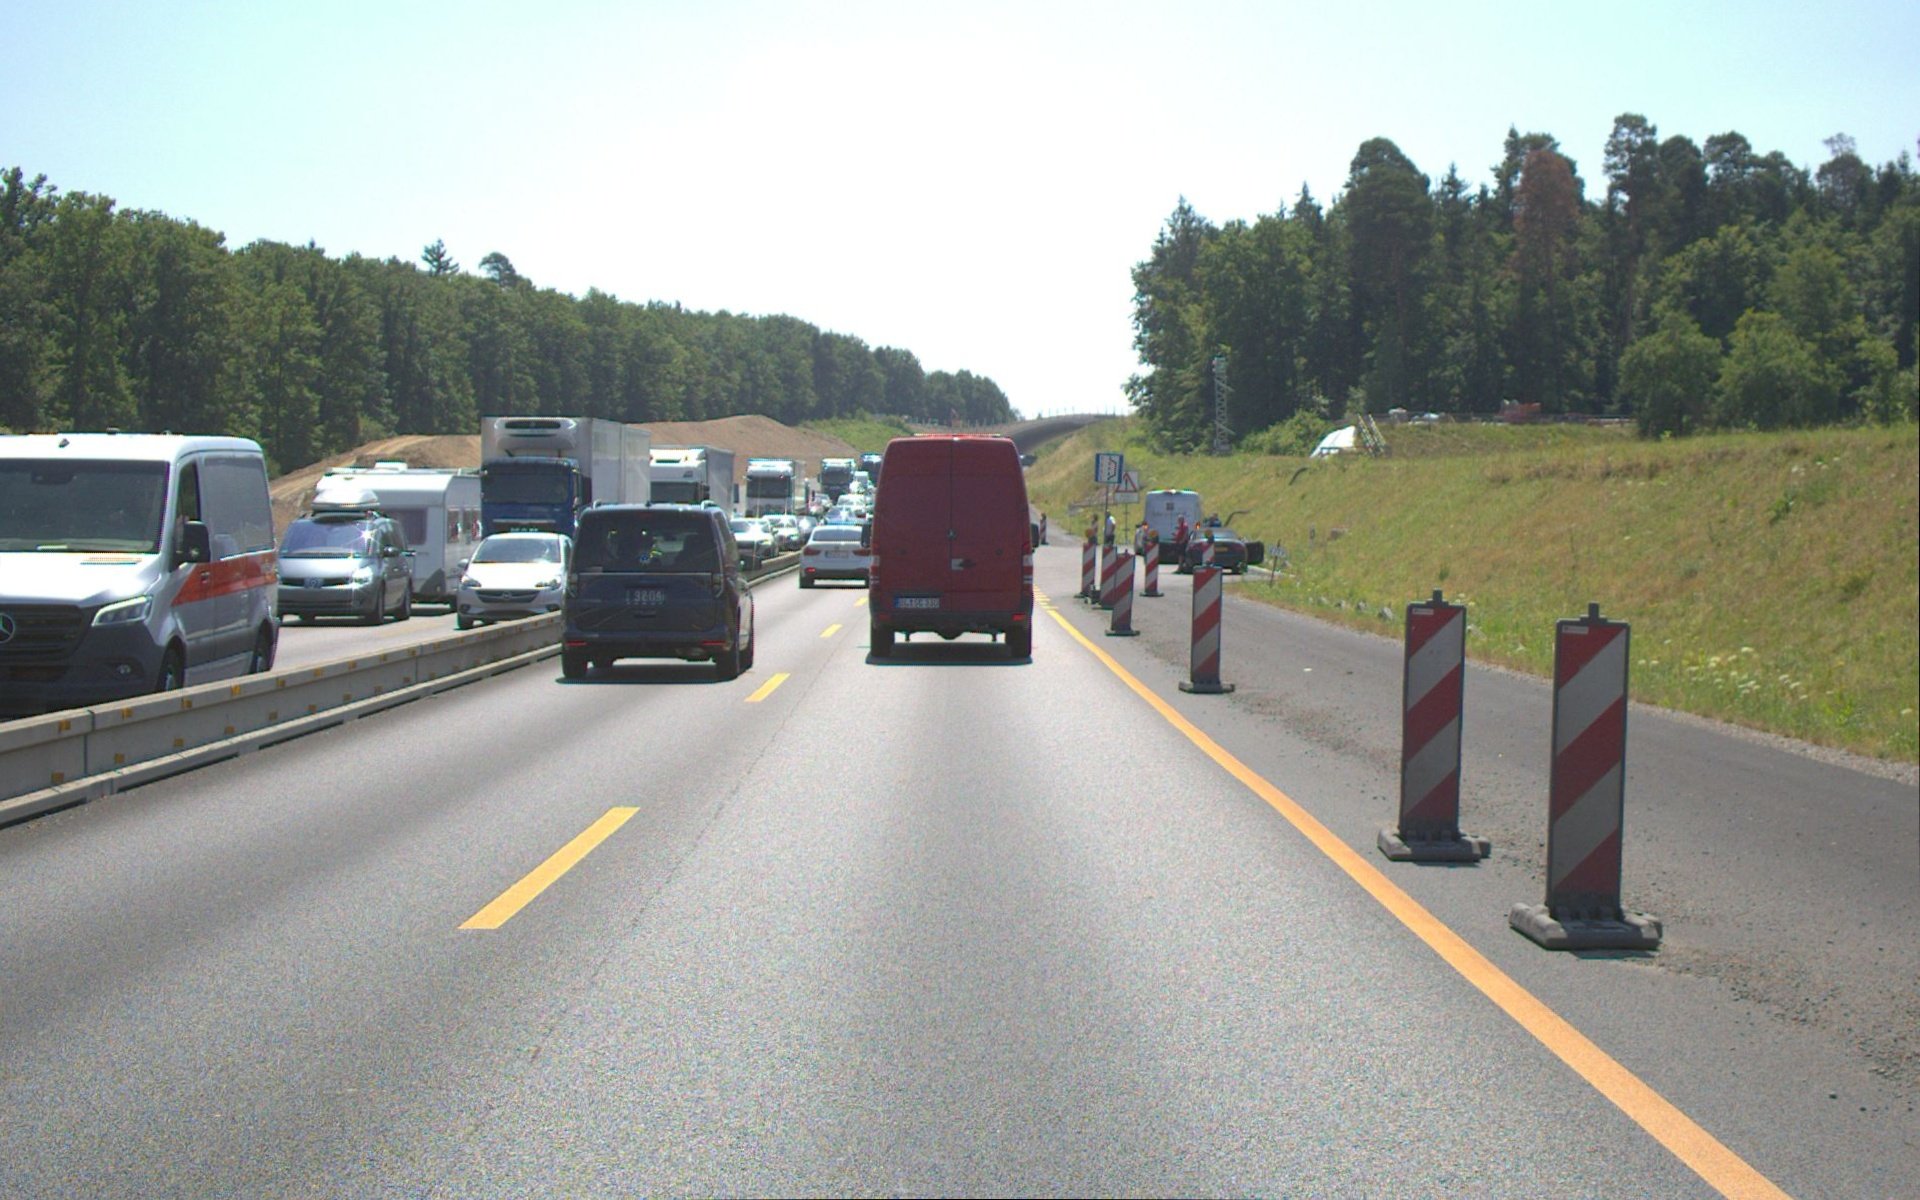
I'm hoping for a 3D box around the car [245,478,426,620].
[{"bbox_3d":[-9.939,-0.815,55.064,1.993,2.148,4.865,1,1,0],"label":"car"}]

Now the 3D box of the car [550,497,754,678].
[{"bbox_3d":[-3.268,-0.196,37.242,1.751,1.818,4.783,1,2,0],"label":"car"}]

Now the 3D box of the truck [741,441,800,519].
[{"bbox_3d":[-10.142,-6.388,184.228,2.768,4.030,4.943,1,1,1],"label":"truck"}]

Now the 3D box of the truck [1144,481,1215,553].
[{"bbox_3d":[7.791,-2.948,121.695,2.130,2.448,5.924,1,2,7],"label":"truck"}]

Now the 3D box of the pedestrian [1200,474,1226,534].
[{"bbox_3d":[7.841,-2.977,106.644,0.624,1.822,0.643,1,2,-12],"label":"pedestrian"}]

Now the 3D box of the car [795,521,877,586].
[{"bbox_3d":[-2.970,-1.127,83.003,1.831,1.517,3.961,1,1,0],"label":"car"}]

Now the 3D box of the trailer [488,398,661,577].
[{"bbox_3d":[-9.731,-2.823,88.508,2.502,4.165,15.534,-1,1,0],"label":"trailer"}]

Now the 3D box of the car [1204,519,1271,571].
[{"bbox_3d":[8.323,-1.679,103.475,1.654,1.422,4.545,-2,2,1],"label":"car"}]

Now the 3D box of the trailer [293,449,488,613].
[{"bbox_3d":[-9.975,-1.230,60.805,2.311,2.677,6.756,-1,1,0],"label":"trailer"}]

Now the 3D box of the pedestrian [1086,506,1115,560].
[{"bbox_3d":[4.831,-2.300,118.028,0.723,1.822,0.720,1,1,-24],"label":"pedestrian"}]

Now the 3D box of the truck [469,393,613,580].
[{"bbox_3d":[-9.809,-2.642,80.993,2.491,4.184,5.912,-1,1,1],"label":"truck"}]

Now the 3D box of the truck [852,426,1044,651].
[{"bbox_3d":[-0.217,-0.748,42.607,2.153,2.581,5.334,1,1,-2],"label":"truck"}]

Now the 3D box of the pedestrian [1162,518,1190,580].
[{"bbox_3d":[6.472,-1.524,102.983,0.640,1.822,0.559,0,2,-21],"label":"pedestrian"}]

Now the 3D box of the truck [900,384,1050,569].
[{"bbox_3d":[0.452,-3.783,110.847,4.400,5.477,16.604,1,1,0],"label":"truck"}]

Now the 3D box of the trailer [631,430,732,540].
[{"bbox_3d":[-10.429,-4.283,129.920,2.653,3.924,13.997,1,1,0],"label":"trailer"}]

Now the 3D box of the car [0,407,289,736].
[{"bbox_3d":[-6.707,-0.239,26.680,1.993,2.284,5.344,1,1,-1],"label":"car"}]

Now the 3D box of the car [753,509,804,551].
[{"bbox_3d":[-7.027,-2.745,133.301,1.775,1.549,4.140,-2,2,-1],"label":"car"}]

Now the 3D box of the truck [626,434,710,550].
[{"bbox_3d":[-10.403,-3.857,122.973,2.591,4.039,5.150,1,1,-1],"label":"truck"}]

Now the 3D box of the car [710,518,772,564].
[{"bbox_3d":[-7.204,-1.938,113.351,1.807,1.483,4.243,1,1,-1],"label":"car"}]

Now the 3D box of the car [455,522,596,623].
[{"bbox_3d":[-6.706,-0.436,53.320,1.688,1.496,3.976,1,1,0],"label":"car"}]
